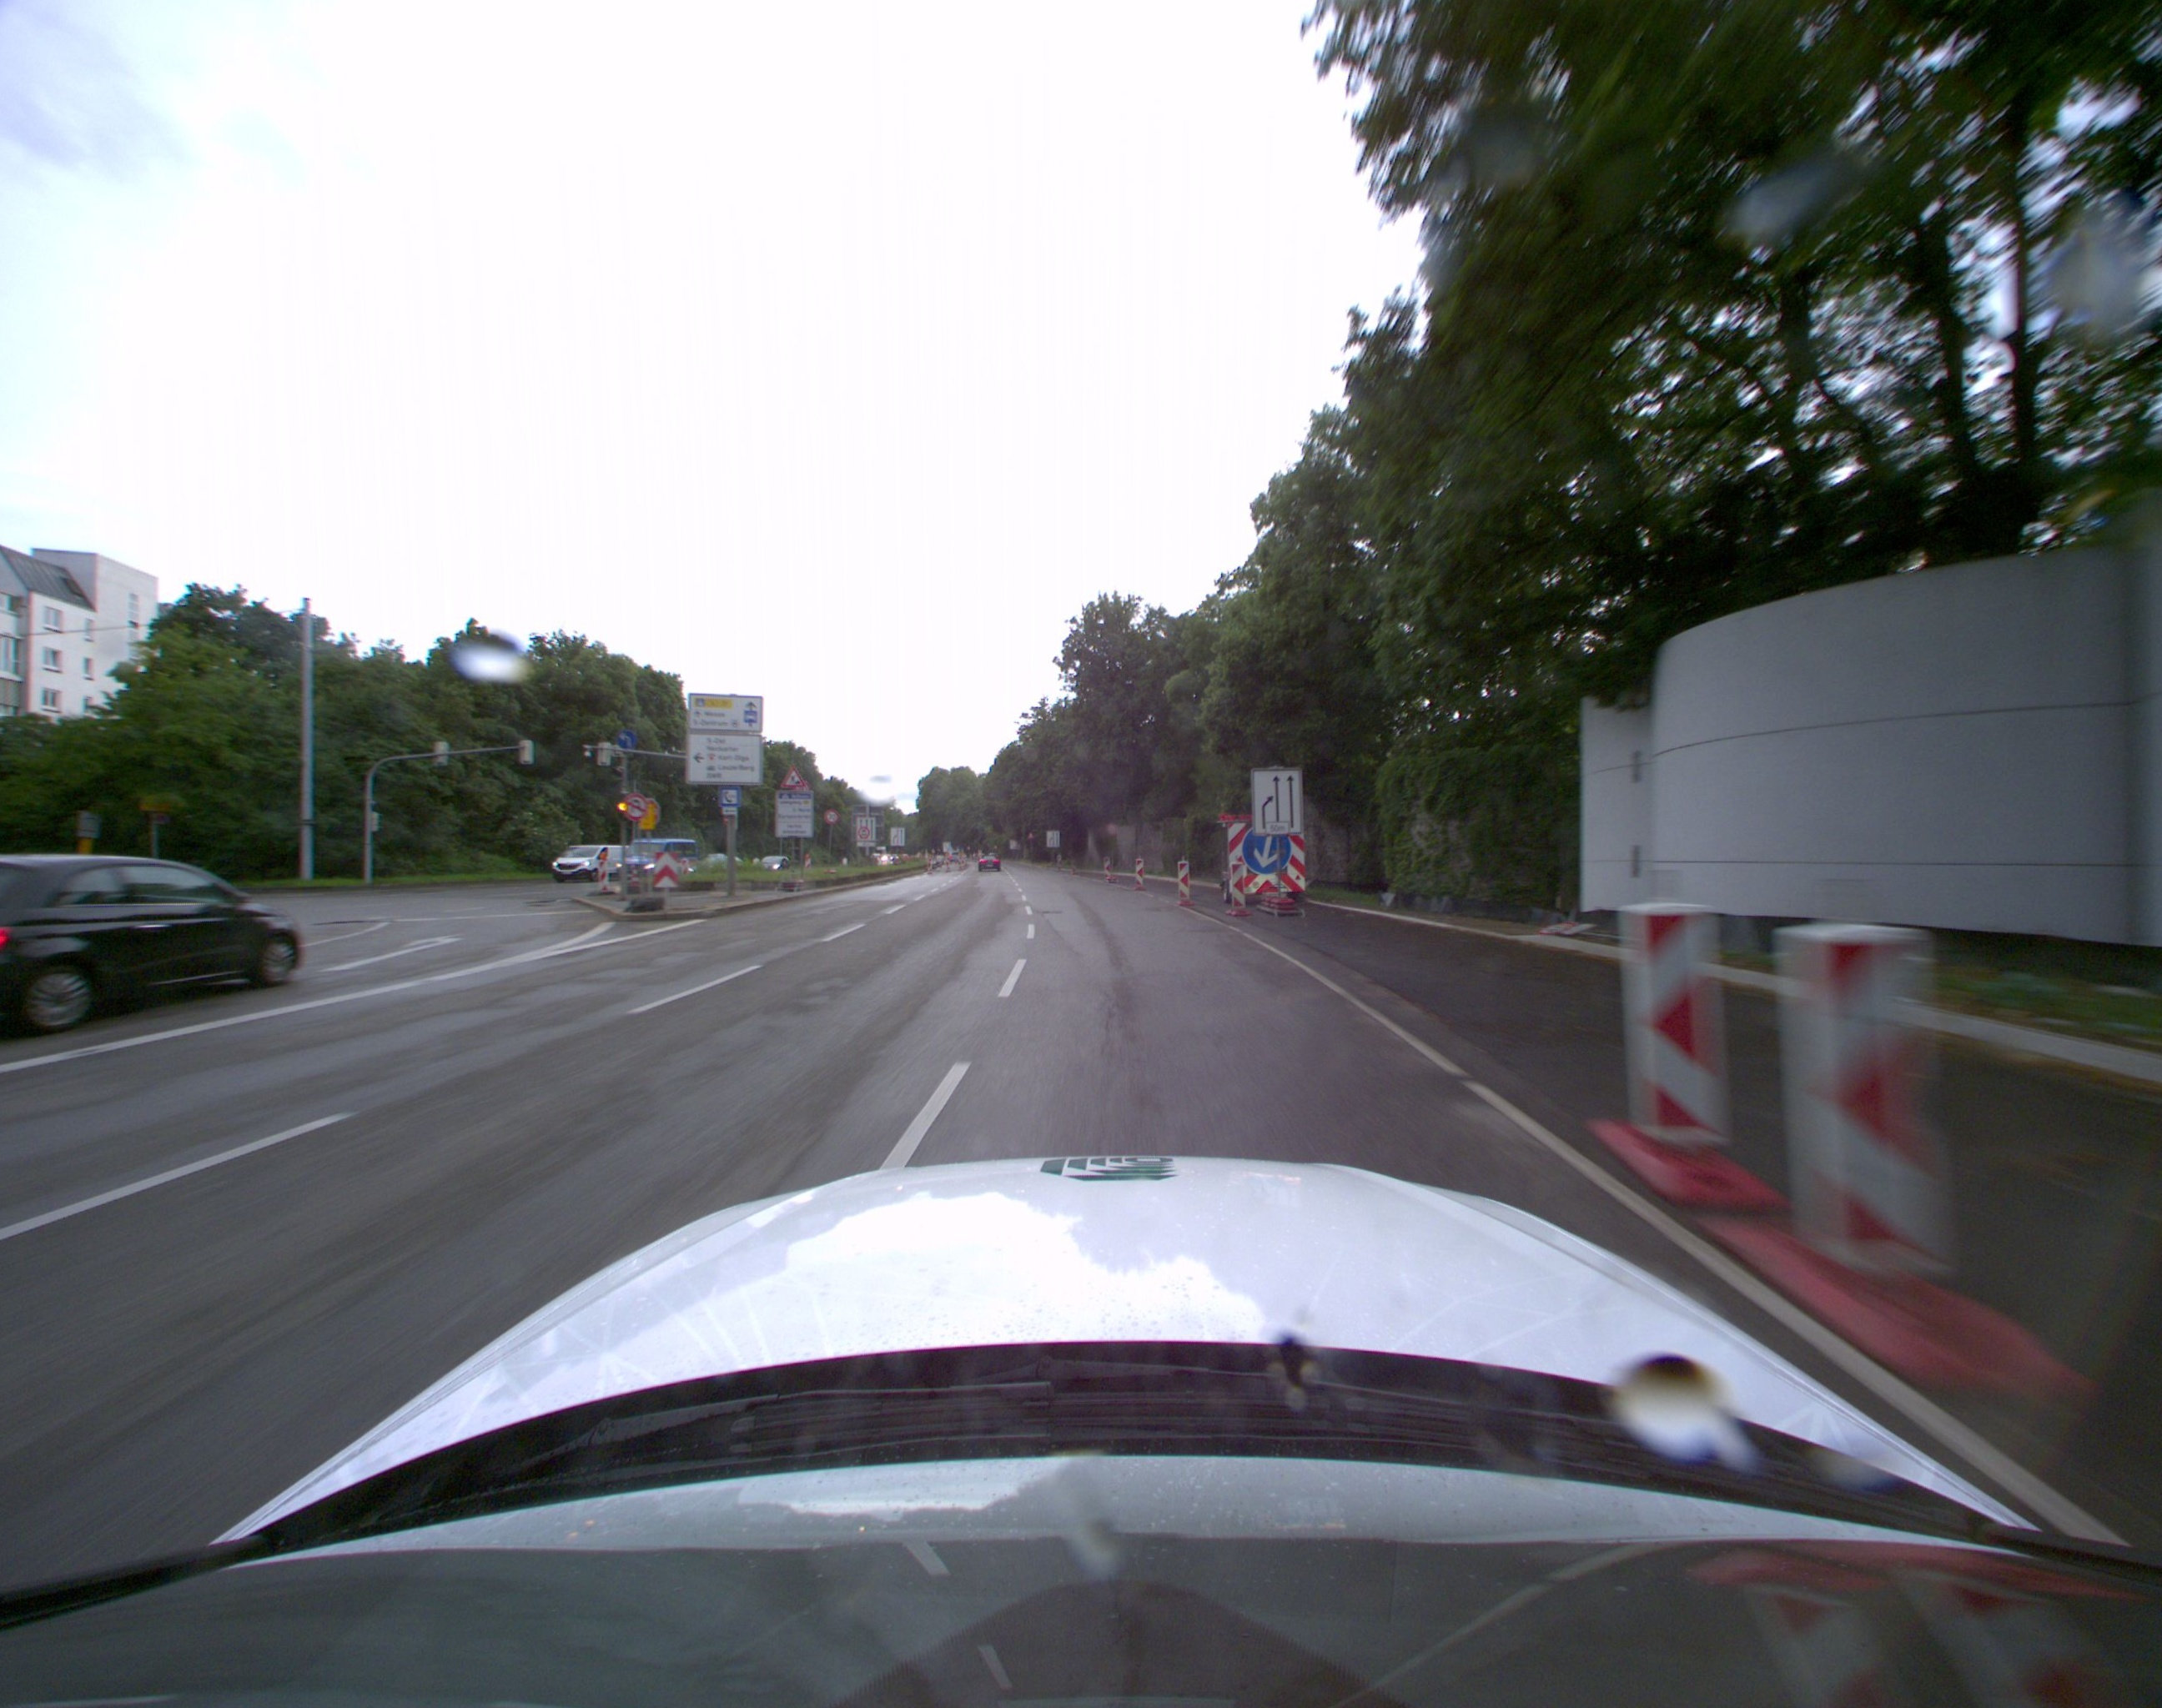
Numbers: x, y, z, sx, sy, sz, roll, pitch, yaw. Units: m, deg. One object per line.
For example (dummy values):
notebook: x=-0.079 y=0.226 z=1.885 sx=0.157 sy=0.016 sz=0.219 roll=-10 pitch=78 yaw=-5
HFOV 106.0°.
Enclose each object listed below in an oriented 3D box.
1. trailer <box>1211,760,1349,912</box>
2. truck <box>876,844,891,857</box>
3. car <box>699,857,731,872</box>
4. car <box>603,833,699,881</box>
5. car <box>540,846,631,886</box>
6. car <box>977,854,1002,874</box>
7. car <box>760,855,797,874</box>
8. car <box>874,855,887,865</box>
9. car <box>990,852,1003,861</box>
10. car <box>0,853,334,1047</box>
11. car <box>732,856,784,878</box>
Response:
trailer: x=5.261 y=-0.412 z=22.564 sx=2.300 sy=3.589 sz=5.959 roll=-2 pitch=-1 yaw=0
truck: x=-52.082 y=-0.919 z=214.551 sx=2.794 sy=3.148 sz=10.117 roll=-1 pitch=0 yaw=-8
car: x=-27.287 y=0.772 z=60.825 sx=1.268 sy=1.085 sz=2.789 roll=1 pitch=0 yaw=-4
car: x=-22.824 y=0.123 z=43.597 sx=2.191 sy=2.390 sz=6.234 roll=0 pitch=0 yaw=-4
car: x=-26.096 y=0.580 z=43.128 sx=2.031 sy=1.974 sz=4.982 roll=0 pitch=0 yaw=-4
car: x=-7.802 y=0.843 z=69.680 sx=1.858 sy=1.491 sz=3.995 roll=1 pitch=2 yaw=-4
car: x=-20.106 y=0.692 z=54.179 sx=1.427 sy=1.200 sz=3.295 roll=0 pitch=-1 yaw=-4
car: x=-37.180 y=1.051 z=151.078 sx=1.913 sy=1.781 sz=4.820 roll=0 pitch=0 yaw=-8
car: x=-15.263 y=0.473 z=147.047 sx=1.916 sy=1.598 sz=4.813 roll=0 pitch=0 yaw=-12
car: x=-9.320 y=0.732 z=7.746 sx=1.586 sy=1.441 sz=3.493 roll=0 pitch=1 yaw=-9
car: x=-18.083 y=0.717 z=45.811 sx=1.547 sy=1.200 sz=4.636 roll=0 pitch=-1 yaw=-6
